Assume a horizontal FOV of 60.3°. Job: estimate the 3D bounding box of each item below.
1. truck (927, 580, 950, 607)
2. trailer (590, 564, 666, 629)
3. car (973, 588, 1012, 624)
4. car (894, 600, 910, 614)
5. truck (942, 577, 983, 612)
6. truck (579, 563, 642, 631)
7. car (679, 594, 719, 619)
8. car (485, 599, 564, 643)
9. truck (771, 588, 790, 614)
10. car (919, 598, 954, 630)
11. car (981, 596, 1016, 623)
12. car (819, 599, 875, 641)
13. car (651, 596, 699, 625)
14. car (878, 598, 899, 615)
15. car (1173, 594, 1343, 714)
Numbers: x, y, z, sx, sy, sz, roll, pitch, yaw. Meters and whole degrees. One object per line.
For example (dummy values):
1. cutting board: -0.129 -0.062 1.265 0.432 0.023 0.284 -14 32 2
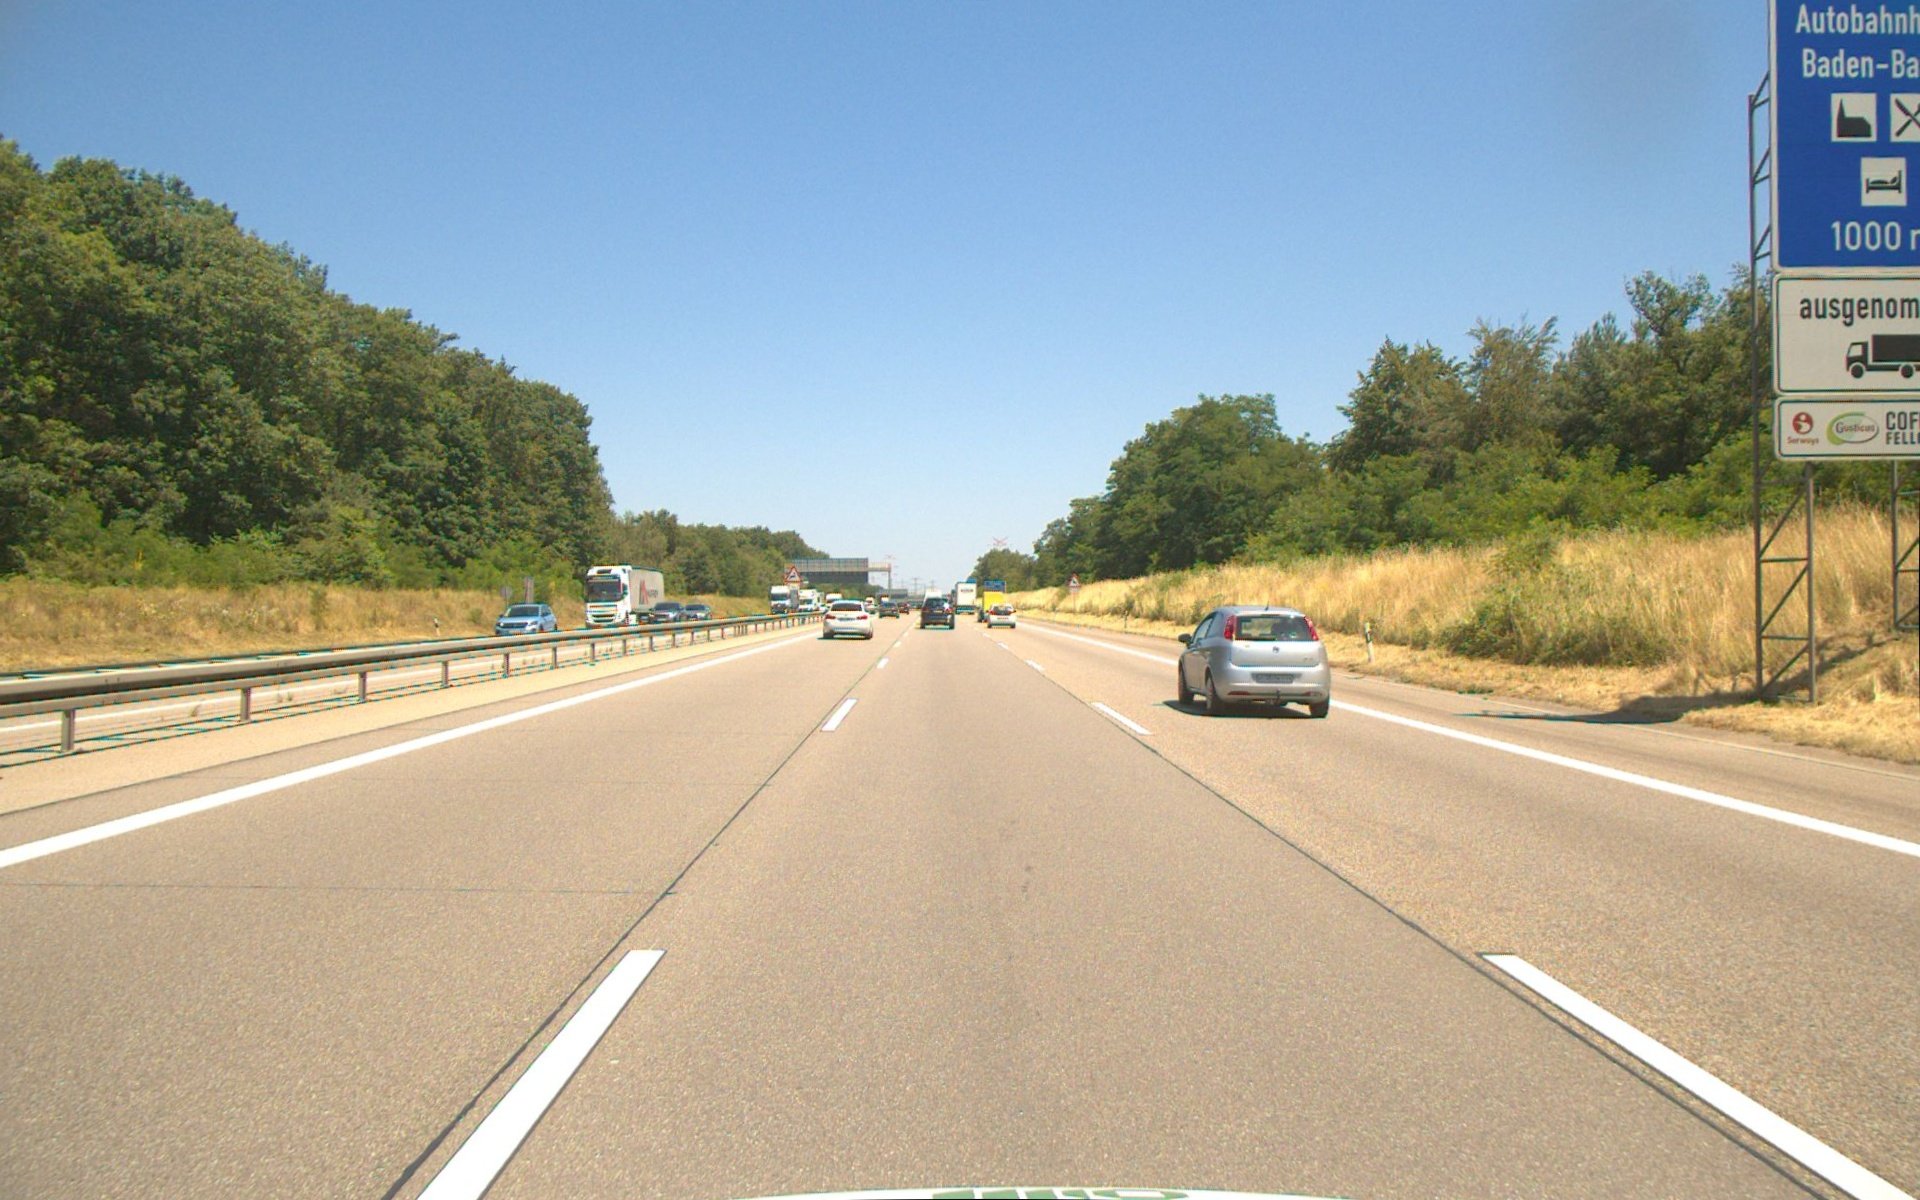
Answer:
1. truck: -2.442 -0.672 185.812 2.380 2.935 6.201 1 0 -3
2. trailer: -22.497 -0.232 112.814 2.852 4.061 12.953 -2 0 -2
3. car: 2.439 0.486 126.451 2.613 2.680 6.109 1 0 -3
4. car: -6.978 0.883 199.377 1.837 1.608 3.928 1 1 0
5. truck: 0.263 -0.761 218.112 3.917 4.390 9.864 2 0 -8
6. truck: -22.284 -0.195 105.776 2.846 4.138 5.651 -2 0 -2
7. car: -18.335 0.435 116.311 1.953 1.595 5.189 -2 0 -1
8. car: -17.268 0.814 65.824 1.953 1.595 4.527 -2 0 -1
9. truck: -24.214 0.125 223.273 2.076 3.403 3.999 -1 0 -2
10. car: -1.314 0.776 92.517 1.795 1.701 3.998 1 0 -3
11. car: 2.282 0.573 98.665 1.785 1.518 3.735 1 0 -3
12. car: -4.376 0.752 64.918 1.924 1.530 5.403 1 0 -1
13. car: -16.863 0.584 98.081 1.953 1.595 5.189 -2 0 -1
14. car: -6.414 0.545 149.105 1.795 1.456 4.998 1 0 -1
15. car: 4.181 0.710 23.733 1.684 1.517 3.736 1 1 -1
